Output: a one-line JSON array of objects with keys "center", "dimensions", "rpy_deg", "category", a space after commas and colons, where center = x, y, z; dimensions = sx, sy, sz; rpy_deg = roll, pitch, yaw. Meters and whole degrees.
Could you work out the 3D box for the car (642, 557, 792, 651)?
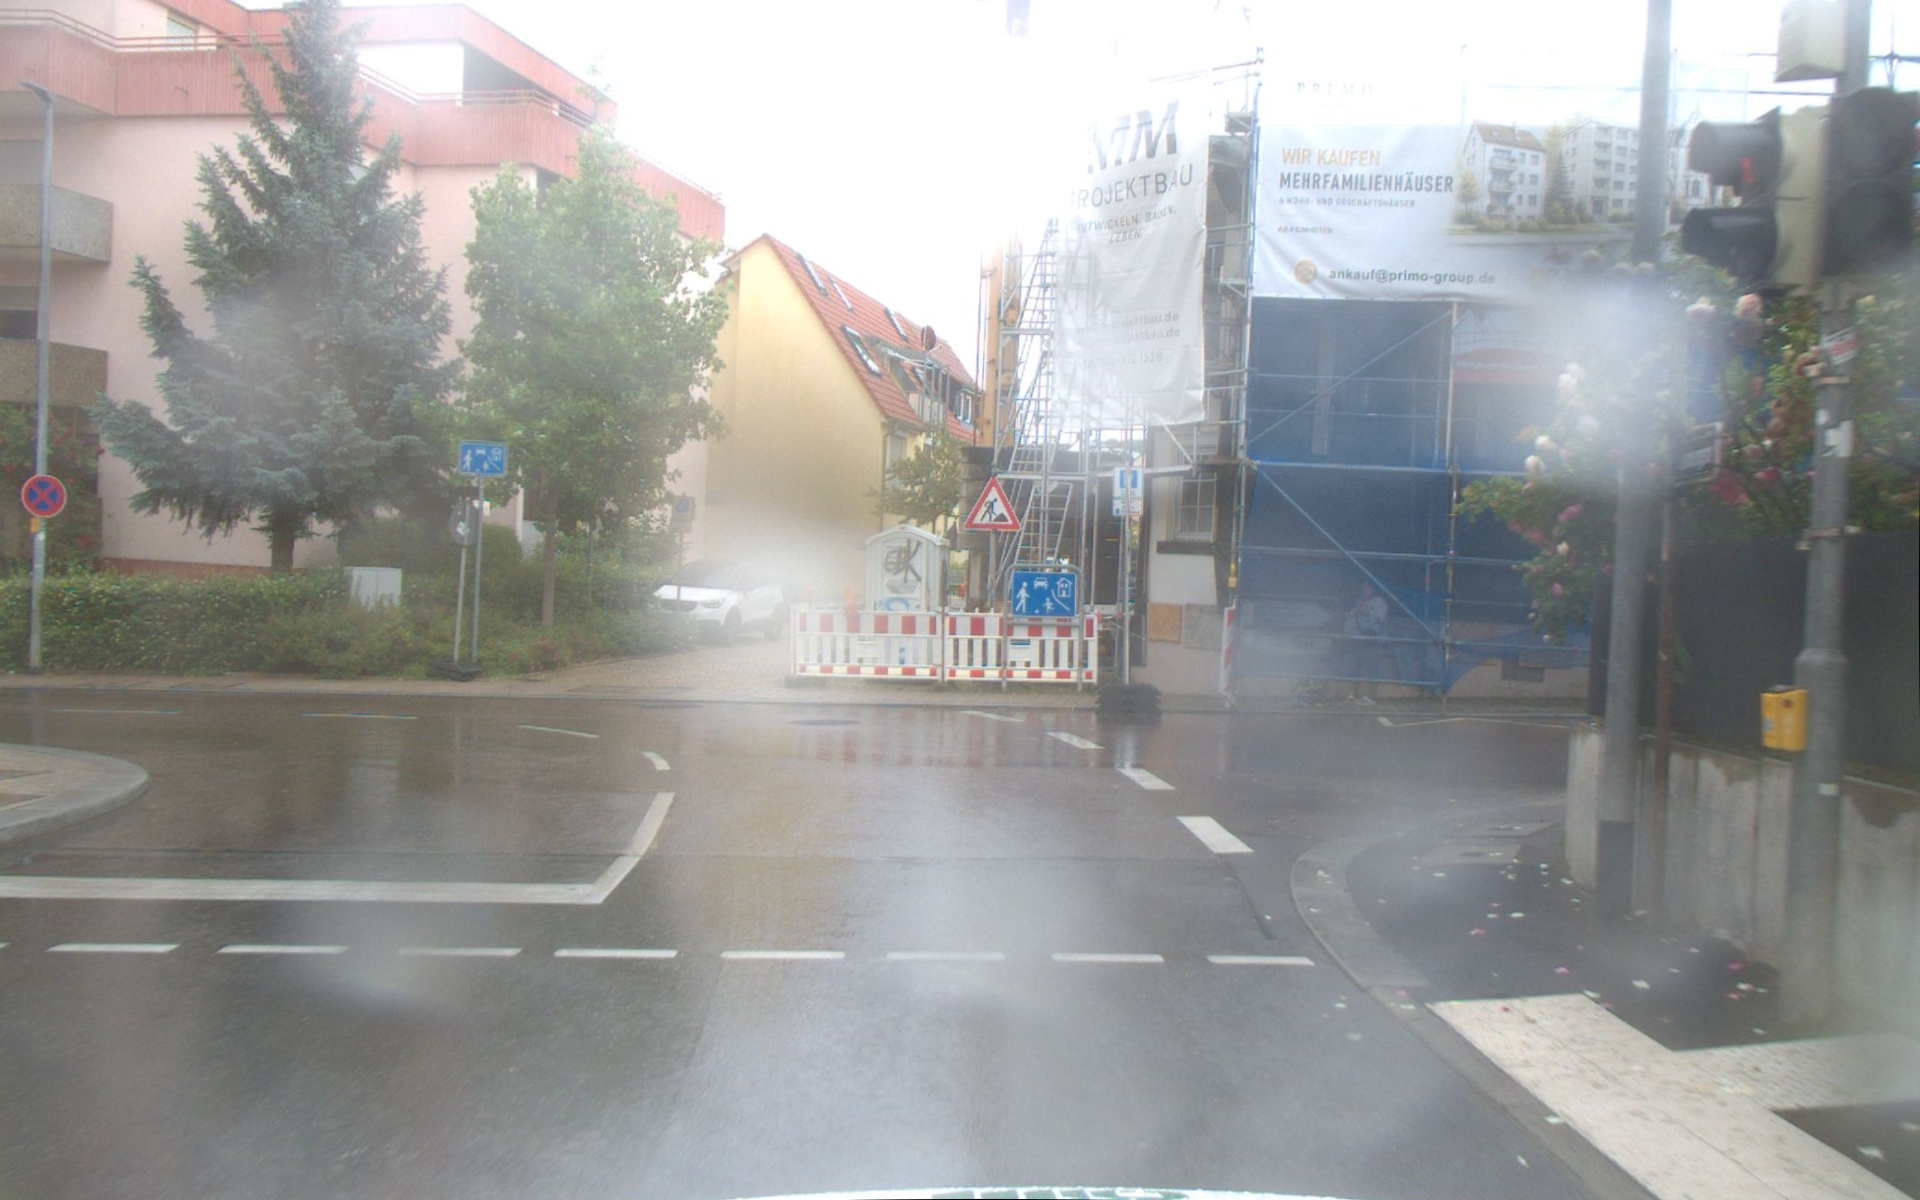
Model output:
[{"center": [-4.835, 0.031, 33.445], "dimensions": [1.566, 1.707, 3.942], "rpy_deg": [3, 2, 14], "category": "car"}]
